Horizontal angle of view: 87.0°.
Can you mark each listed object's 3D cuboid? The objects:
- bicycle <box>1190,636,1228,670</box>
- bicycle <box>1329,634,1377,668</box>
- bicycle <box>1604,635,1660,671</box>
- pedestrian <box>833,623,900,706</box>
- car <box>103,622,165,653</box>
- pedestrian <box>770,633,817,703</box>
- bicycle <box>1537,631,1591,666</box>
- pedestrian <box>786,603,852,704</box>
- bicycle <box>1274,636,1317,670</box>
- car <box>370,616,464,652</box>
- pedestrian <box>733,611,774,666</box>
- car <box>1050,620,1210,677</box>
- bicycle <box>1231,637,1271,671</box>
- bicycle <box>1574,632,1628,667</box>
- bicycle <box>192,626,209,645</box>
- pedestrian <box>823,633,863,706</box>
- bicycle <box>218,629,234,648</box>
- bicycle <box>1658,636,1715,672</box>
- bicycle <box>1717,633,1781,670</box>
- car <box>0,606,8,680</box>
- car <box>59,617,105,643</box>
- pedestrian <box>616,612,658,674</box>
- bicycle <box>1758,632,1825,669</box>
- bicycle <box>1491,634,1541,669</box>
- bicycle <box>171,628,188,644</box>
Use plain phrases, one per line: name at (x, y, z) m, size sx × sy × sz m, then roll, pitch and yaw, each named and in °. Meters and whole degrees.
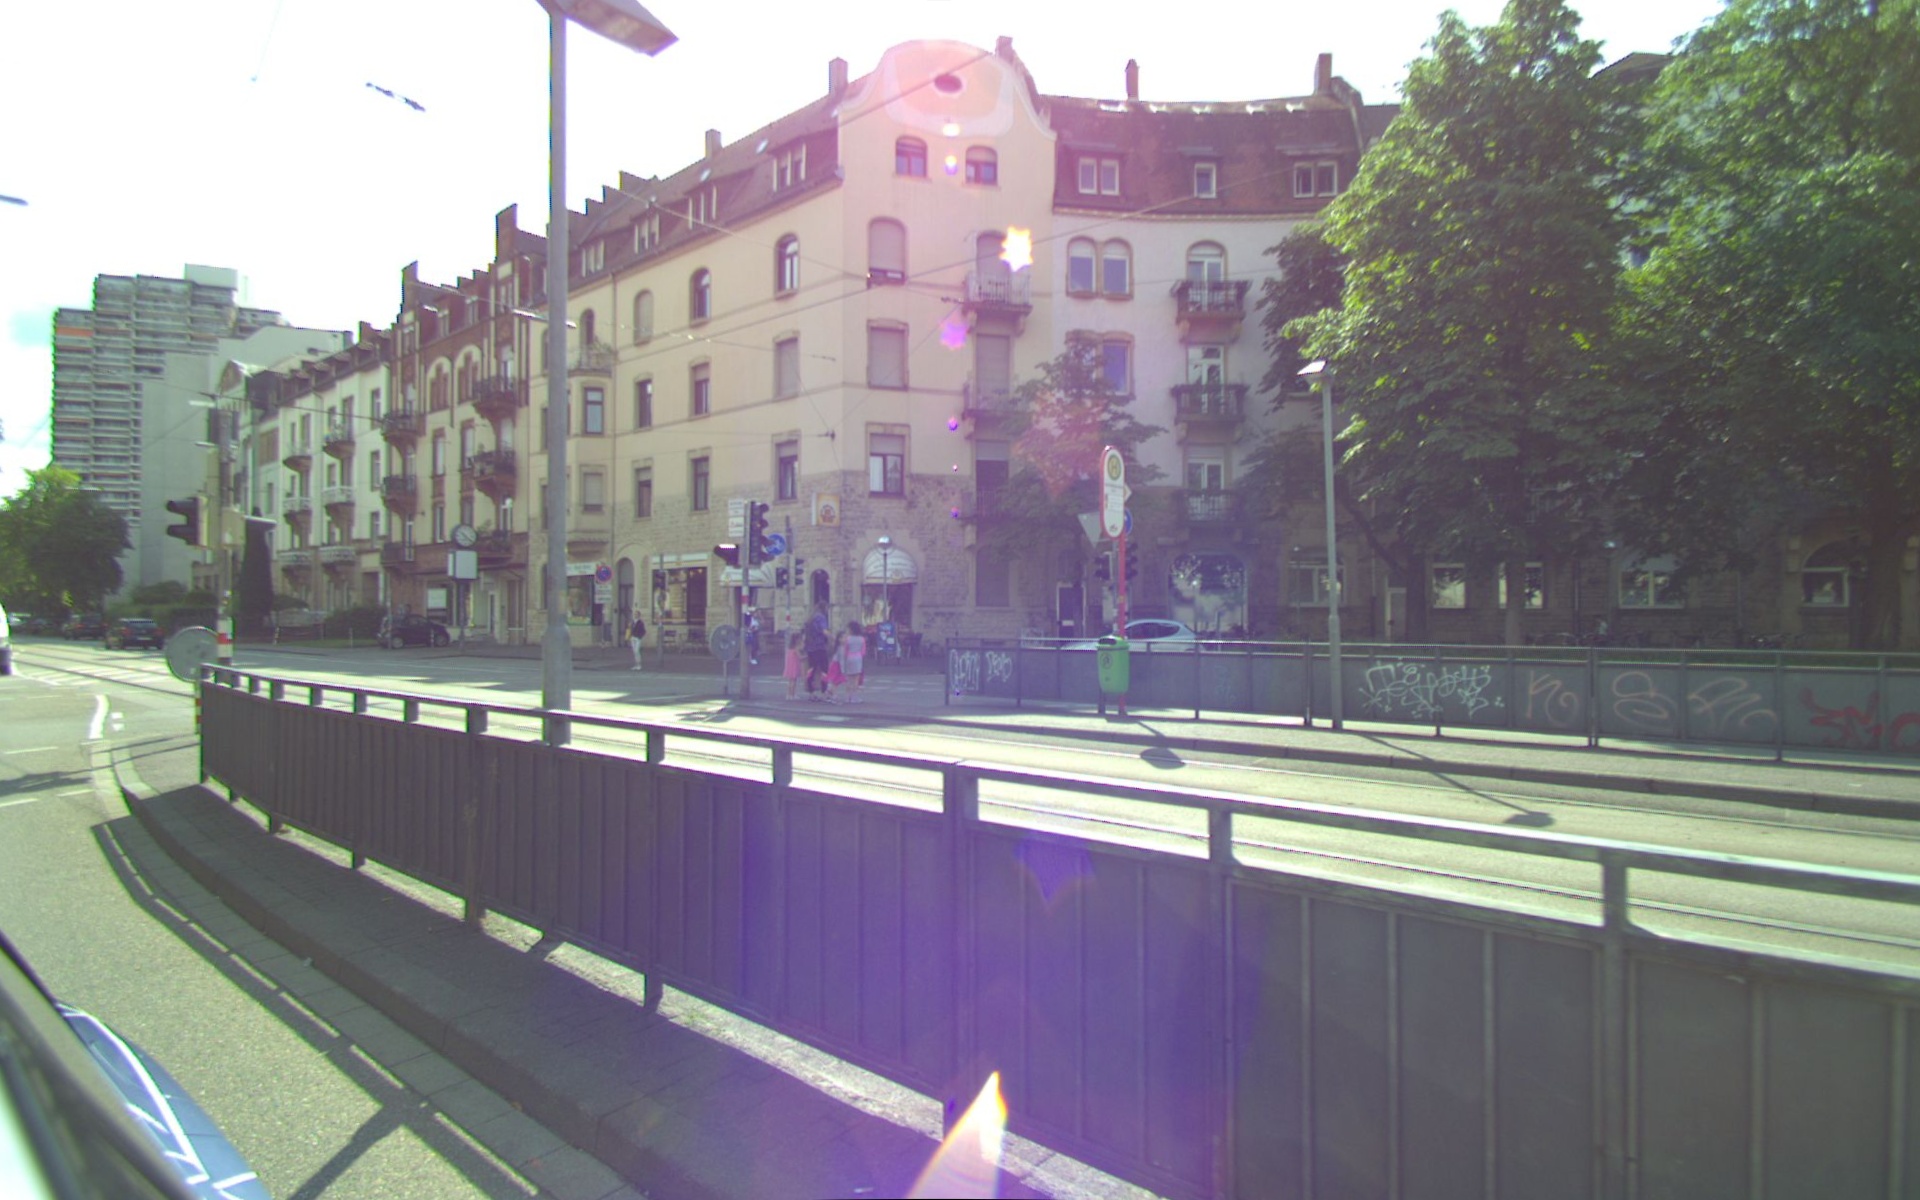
bicycle at (7.318, 1.552, 29.811) m, size 0.504 × 0.889 × 2.032 m, roll 0°, pitch 0°, yaw -3°
bicycle at (11.564, 1.490, 29.822) m, size 0.538 × 0.889 × 2.032 m, roll 0°, pitch 0°, yaw -3°
bicycle at (19.072, 1.484, 28.759) m, size 0.566 × 0.905 × 2.024 m, roll 0°, pitch 0°, yaw 10°
pedestrian at (-1.528, 1.040, 16.552) m, size 0.716 × 1.314 × 0.818 m, roll -1°, pitch -4°, yaw 36°
car at (-38.269, 1.732, 46.866) m, size 3.433 × 1.398 × 1.608 m, roll -1°, pitch -3°, yaw 40°
pedestrian at (-2.753, 1.116, 16.765) m, size 0.443 × 1.122 × 0.635 m, roll -1°, pitch -2°, yaw 36°
bicycle at (17.342, 1.374, 29.119) m, size 0.565 × 0.905 × 2.026 m, roll 0°, pitch 0°, yaw 8°
pedestrian at (-2.290, 0.854, 16.437) m, size 0.798 × 1.577 × 0.721 m, roll -1°, pitch -2°, yaw 37°
bicycle at (9.871, 1.540, 29.825) m, size 0.504 × 0.889 × 2.032 m, roll 0°, pitch 0°, yaw -3°
car at (-24.961, 1.540, 46.576) m, size 1.706 × 1.497 × 3.407 m, roll -2°, pitch 0°, yaw 42°
pedestrian at (-6.153, 1.142, 30.125) m, size 0.963 × 1.553 × 0.686 m, roll -1°, pitch 2°, yaw 42°
car at (4.430, 1.251, 26.709) m, size 3.814 × 1.431 × 1.723 m, roll 0°, pitch -1°, yaw -5°
bicycle at (8.540, 1.570, 29.753) m, size 0.504 × 0.889 × 2.032 m, roll 0°, pitch 0°, yaw -3°
bicycle at (18.290, 1.398, 28.912) m, size 0.566 × 0.905 × 2.024 m, roll 0°, pitch 0°, yaw 10°
bicycle at (-44.831, 2.088, 59.729) m, size 0.532 × 1.037 × 1.874 m, roll 1°, pitch -1°, yaw -44°
pedestrian at (-1.843, 1.091, 15.952) m, size 0.422 × 1.117 × 0.433 m, roll -1°, pitch -4°, yaw 37°
bicycle at (-40.455, 2.107, 55.780) m, size 0.517 × 0.913 × 2.070 m, roll 1°, pitch 0°, yaw -41°
bicycle at (20.371, 1.489, 28.404) m, size 0.566 × 0.905 × 2.022 m, roll 0°, pitch 0°, yaw 13°
bicycle at (21.658, 1.397, 27.820) m, size 0.566 × 0.905 × 2.022 m, roll 0°, pitch 0°, yaw 13°
car at (-26.457, 1.126, 26.710) m, size 1.806 × 1.881 × 4.848 m, roll 0°, pitch -1°, yaw -45°
car at (-59.860, 2.062, 68.978) m, size 4.328 × 1.724 × 1.773 m, roll -1°, pitch -2°, yaw 41°
pedestrian at (-9.505, 1.255, 29.795) m, size 0.873 × 1.717 × 0.749 m, roll -1°, pitch 2°, yaw 40°
bicycle at (22.438, 1.349, 27.358) m, size 0.566 × 0.905 × 2.022 m, roll 0°, pitch 0°, yaw 13°
bicycle at (16.127, 1.469, 29.416) m, size 0.540 × 0.905 × 2.027 m, roll 0°, pitch 0°, yaw 6°
bicycle at (-48.294, 2.220, 62.602) m, size 0.579 × 0.993 × 1.874 m, roll 1°, pitch -1°, yaw -44°
